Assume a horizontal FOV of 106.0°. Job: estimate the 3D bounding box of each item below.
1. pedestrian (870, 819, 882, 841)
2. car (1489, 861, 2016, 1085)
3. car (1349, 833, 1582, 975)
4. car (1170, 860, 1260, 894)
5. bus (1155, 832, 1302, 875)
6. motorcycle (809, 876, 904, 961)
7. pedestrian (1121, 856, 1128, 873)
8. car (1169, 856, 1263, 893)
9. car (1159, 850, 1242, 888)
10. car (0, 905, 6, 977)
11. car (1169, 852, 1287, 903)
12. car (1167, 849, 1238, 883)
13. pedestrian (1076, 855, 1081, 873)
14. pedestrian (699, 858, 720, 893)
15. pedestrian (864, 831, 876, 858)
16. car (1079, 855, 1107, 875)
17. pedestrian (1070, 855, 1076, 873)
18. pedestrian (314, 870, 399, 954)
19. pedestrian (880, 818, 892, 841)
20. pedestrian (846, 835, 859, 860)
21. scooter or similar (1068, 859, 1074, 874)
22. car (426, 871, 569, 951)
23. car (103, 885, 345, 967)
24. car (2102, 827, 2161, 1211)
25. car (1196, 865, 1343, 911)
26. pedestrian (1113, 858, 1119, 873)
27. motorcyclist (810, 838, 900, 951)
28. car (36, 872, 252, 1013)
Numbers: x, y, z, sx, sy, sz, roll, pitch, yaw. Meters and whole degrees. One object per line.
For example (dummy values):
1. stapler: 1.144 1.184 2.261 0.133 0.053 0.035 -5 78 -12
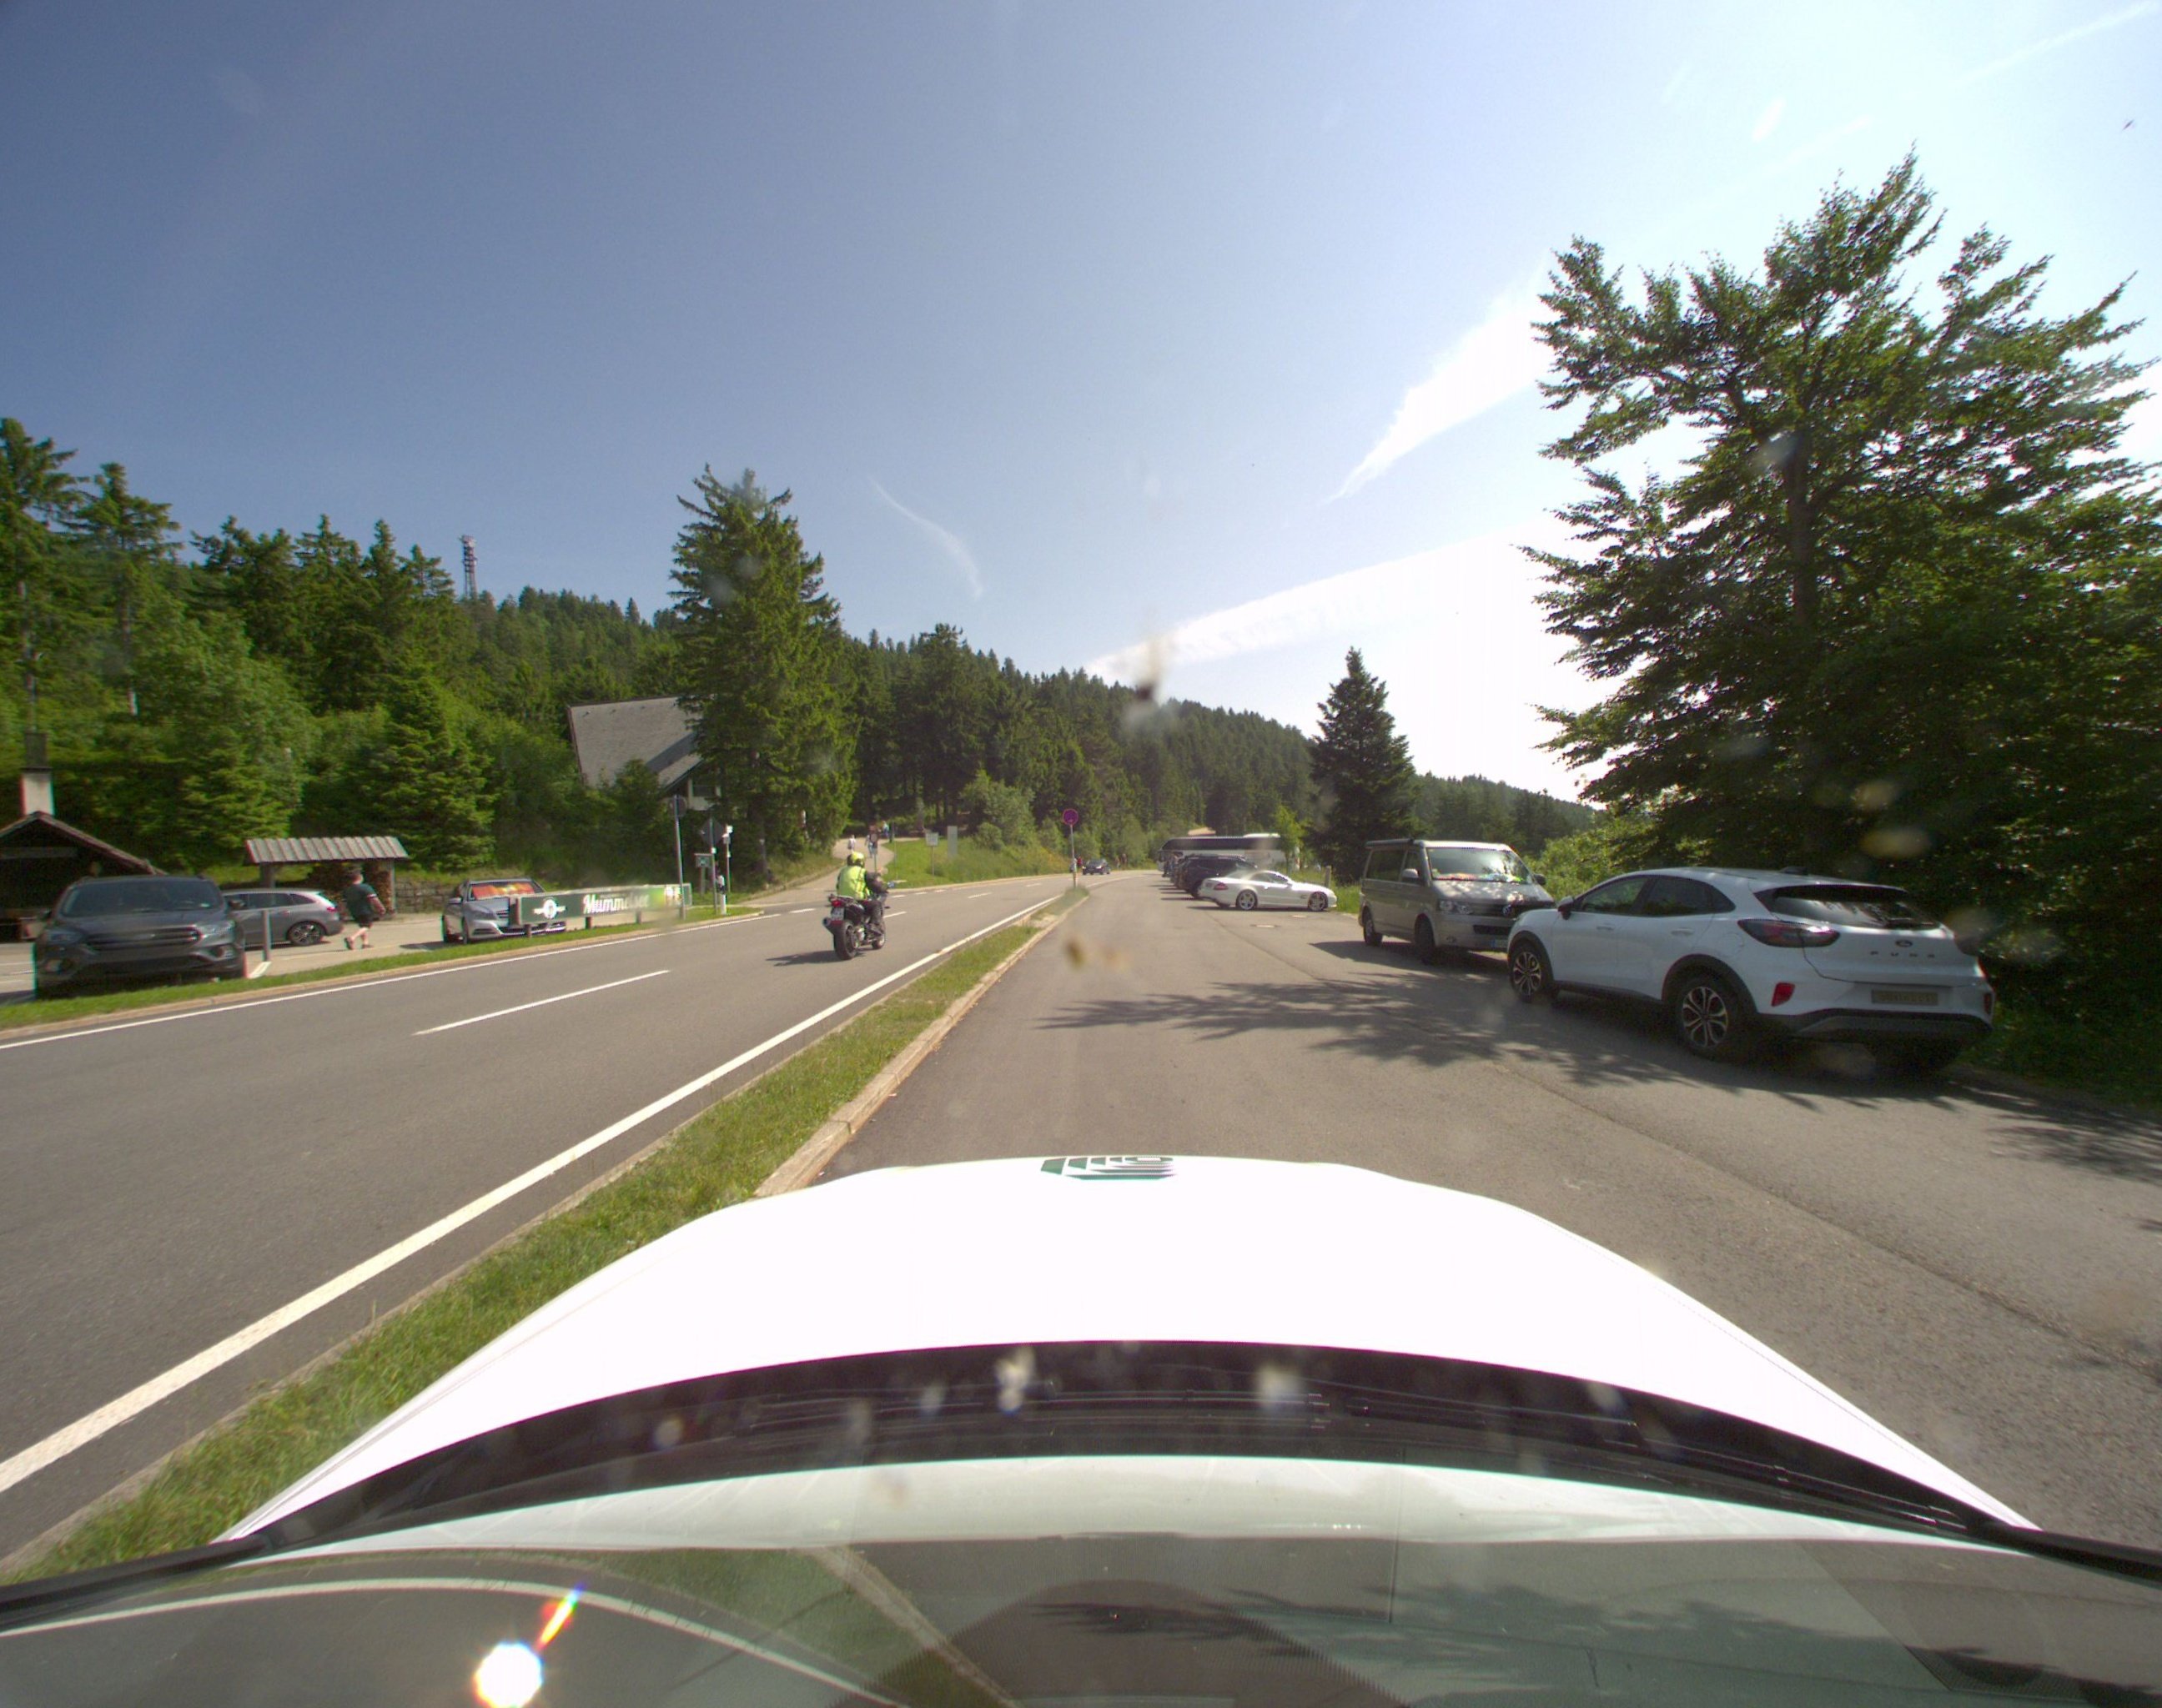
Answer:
1. pedestrian: -18.799 -2.192 74.687 0.796 2.013 0.938 -3 1 -7
2. car: 5.744 0.864 7.748 1.674 1.518 4.049 2 -1 0
3. car: 6.298 0.710 14.078 1.897 1.972 4.823 2 0 3
4. car: 5.704 0.966 34.945 3.623 1.303 1.641 1 2 0
5. bus: 13.449 -0.056 74.492 12.757 3.577 2.996 -1 2 18
6. motorcycle: -3.537 0.977 13.059 0.819 1.177 2.286 -1 -1 1
7. pedestrian: 5.377 1.326 101.039 0.730 2.014 0.862 -3 -2 1
8. car: 6.149 0.908 37.472 3.973 1.453 2.000 2 2 0
9. car: 6.025 0.720 41.339 3.972 1.719 1.868 2 2 1
10. car: -22.985 1.789 14.641 4.023 1.617 1.976 -5 2 -42
11. car: 5.560 0.871 31.099 3.982 1.699 1.996 2 1 -6
12. car: 7.131 0.677 48.273 3.970 1.814 1.942 2 2 3
13. pedestrian: -0.217 0.953 79.731 0.393 1.747 0.406 -3 1 1
14. pedestrian: -16.876 0.992 36.985 0.575 1.532 0.553 -3 1 1
15. pedestrian: -14.506 -0.663 55.969 0.651 1.799 0.642 -3 -1 -5
16. car: 1.092 0.977 74.931 1.982 1.662 4.010 -2 0 9
17. pedestrian: -0.795 0.977 80.090 0.413 1.747 0.457 -3 1 1
18. pedestrian: -16.172 1.278 18.214 0.893 1.734 0.961 -3 1 1
19. pedestrian: -17.698 -2.230 73.997 0.814 2.013 0.851 -3 1 -7
20. pedestrian: -15.492 -0.452 55.190 0.651 1.667 0.642 -3 -1 -5
21. scooter or similar: -0.940 1.186 79.459 0.481 1.379 0.817 -3 1 1
22. car: -12.911 1.194 17.926 3.920 1.441 1.755 -3 1 43
23. car: -21.392 1.709 20.494 1.663 1.494 4.026 0 3 41
24. car: 5.448 0.713 1.521 1.737 1.632 4.309 2 -1 1
25. car: 6.133 1.108 26.571 4.460 1.298 1.574 2 0 -15
26. pedestrian: 4.427 1.425 102.387 0.620 1.900 0.655 -3 -2 1
27. motorcyclist: -3.559 0.614 12.953 1.022 1.675 1.293 -1 -1 1
28. car: -13.586 1.156 11.890 4.157 1.634 1.800 -3 -1 41
